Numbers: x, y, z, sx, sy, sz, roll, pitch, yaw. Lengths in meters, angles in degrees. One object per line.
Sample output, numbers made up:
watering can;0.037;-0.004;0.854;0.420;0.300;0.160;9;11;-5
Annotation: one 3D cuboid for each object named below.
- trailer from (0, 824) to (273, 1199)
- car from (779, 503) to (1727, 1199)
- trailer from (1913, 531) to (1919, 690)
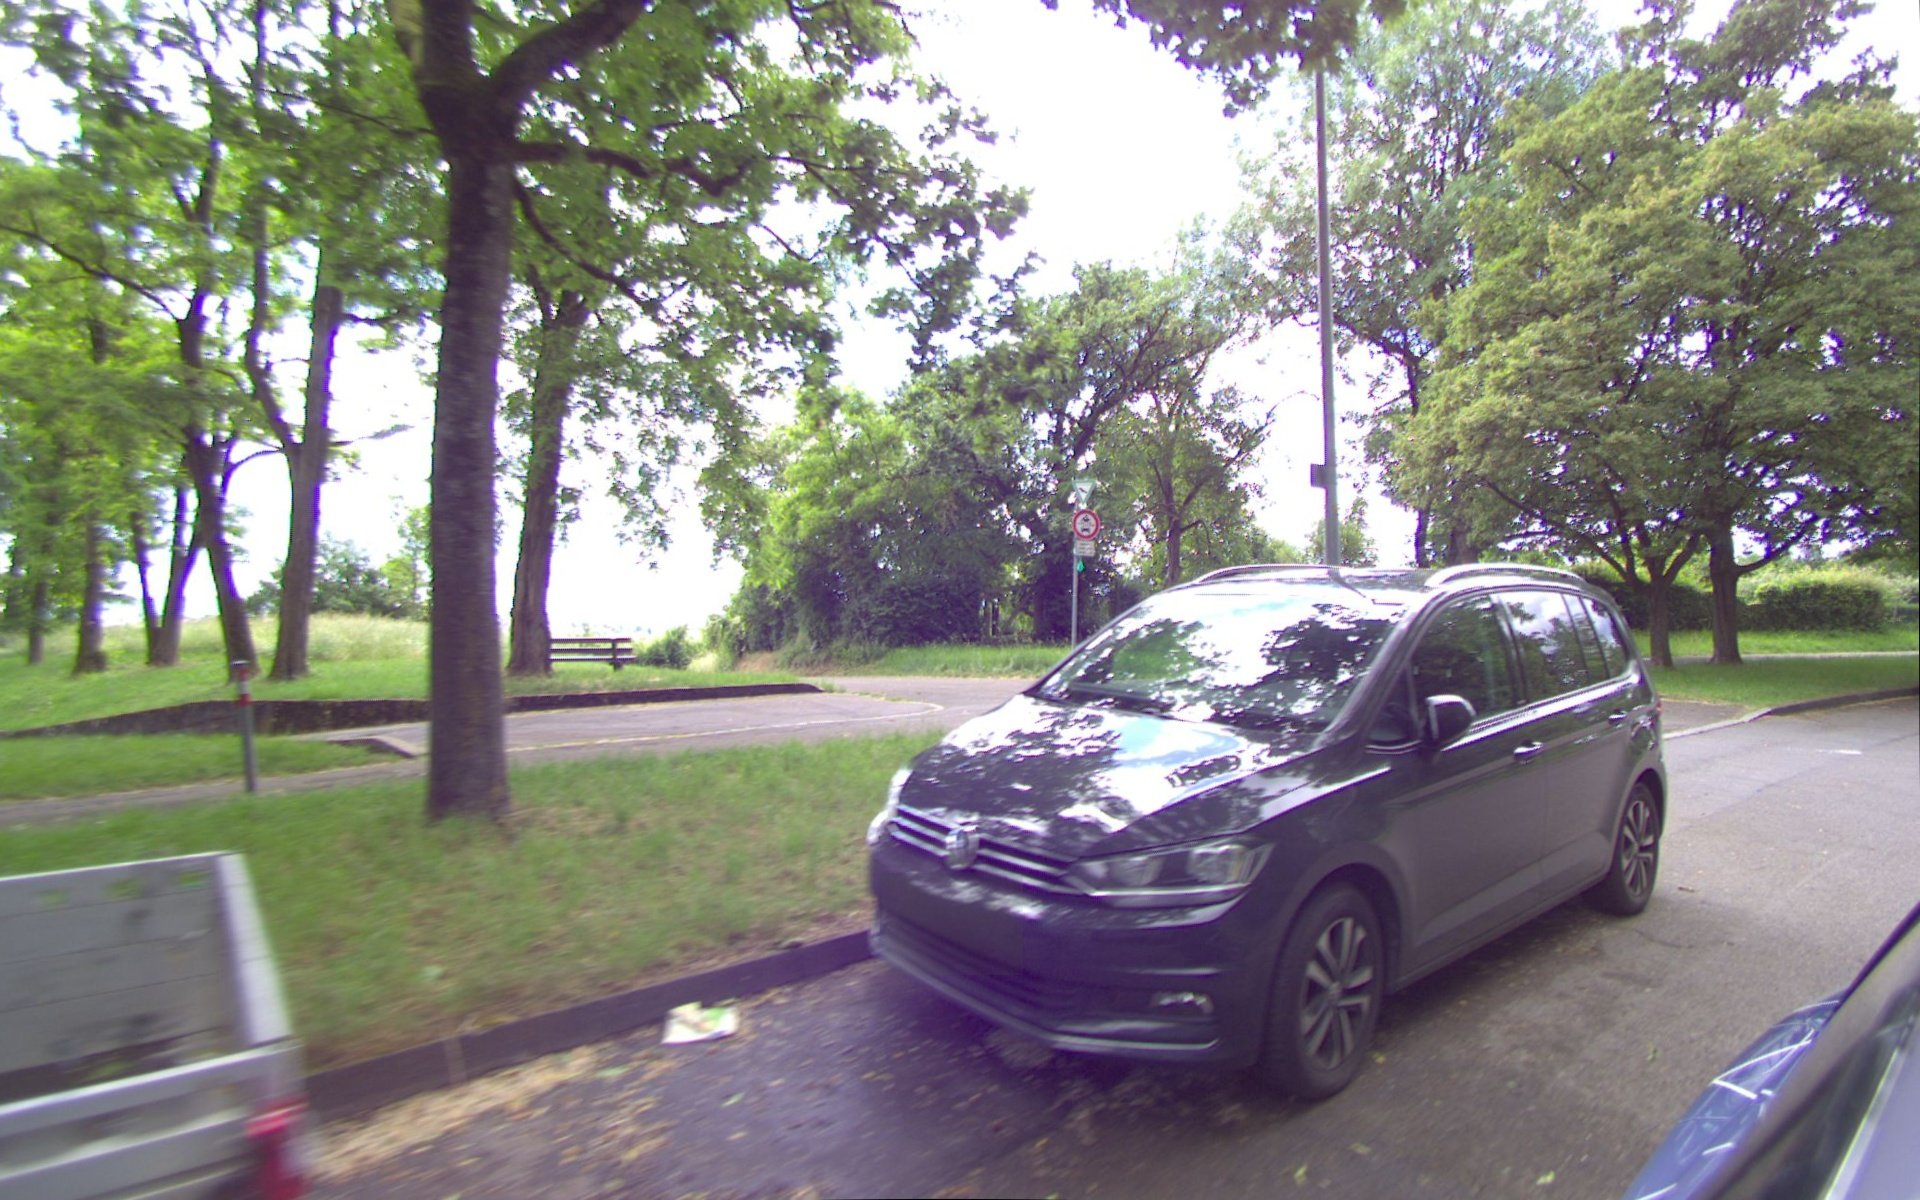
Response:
trailer;-2.830;1.004;0.697;3.821;0.981;1.360;0;-2;-38
car;1.718;0.603;4.609;4.755;1.684;1.778;-1;-1;-40
trailer;16.821;0.181;15.921;3.811;2.457;1.767;0;1;-32
